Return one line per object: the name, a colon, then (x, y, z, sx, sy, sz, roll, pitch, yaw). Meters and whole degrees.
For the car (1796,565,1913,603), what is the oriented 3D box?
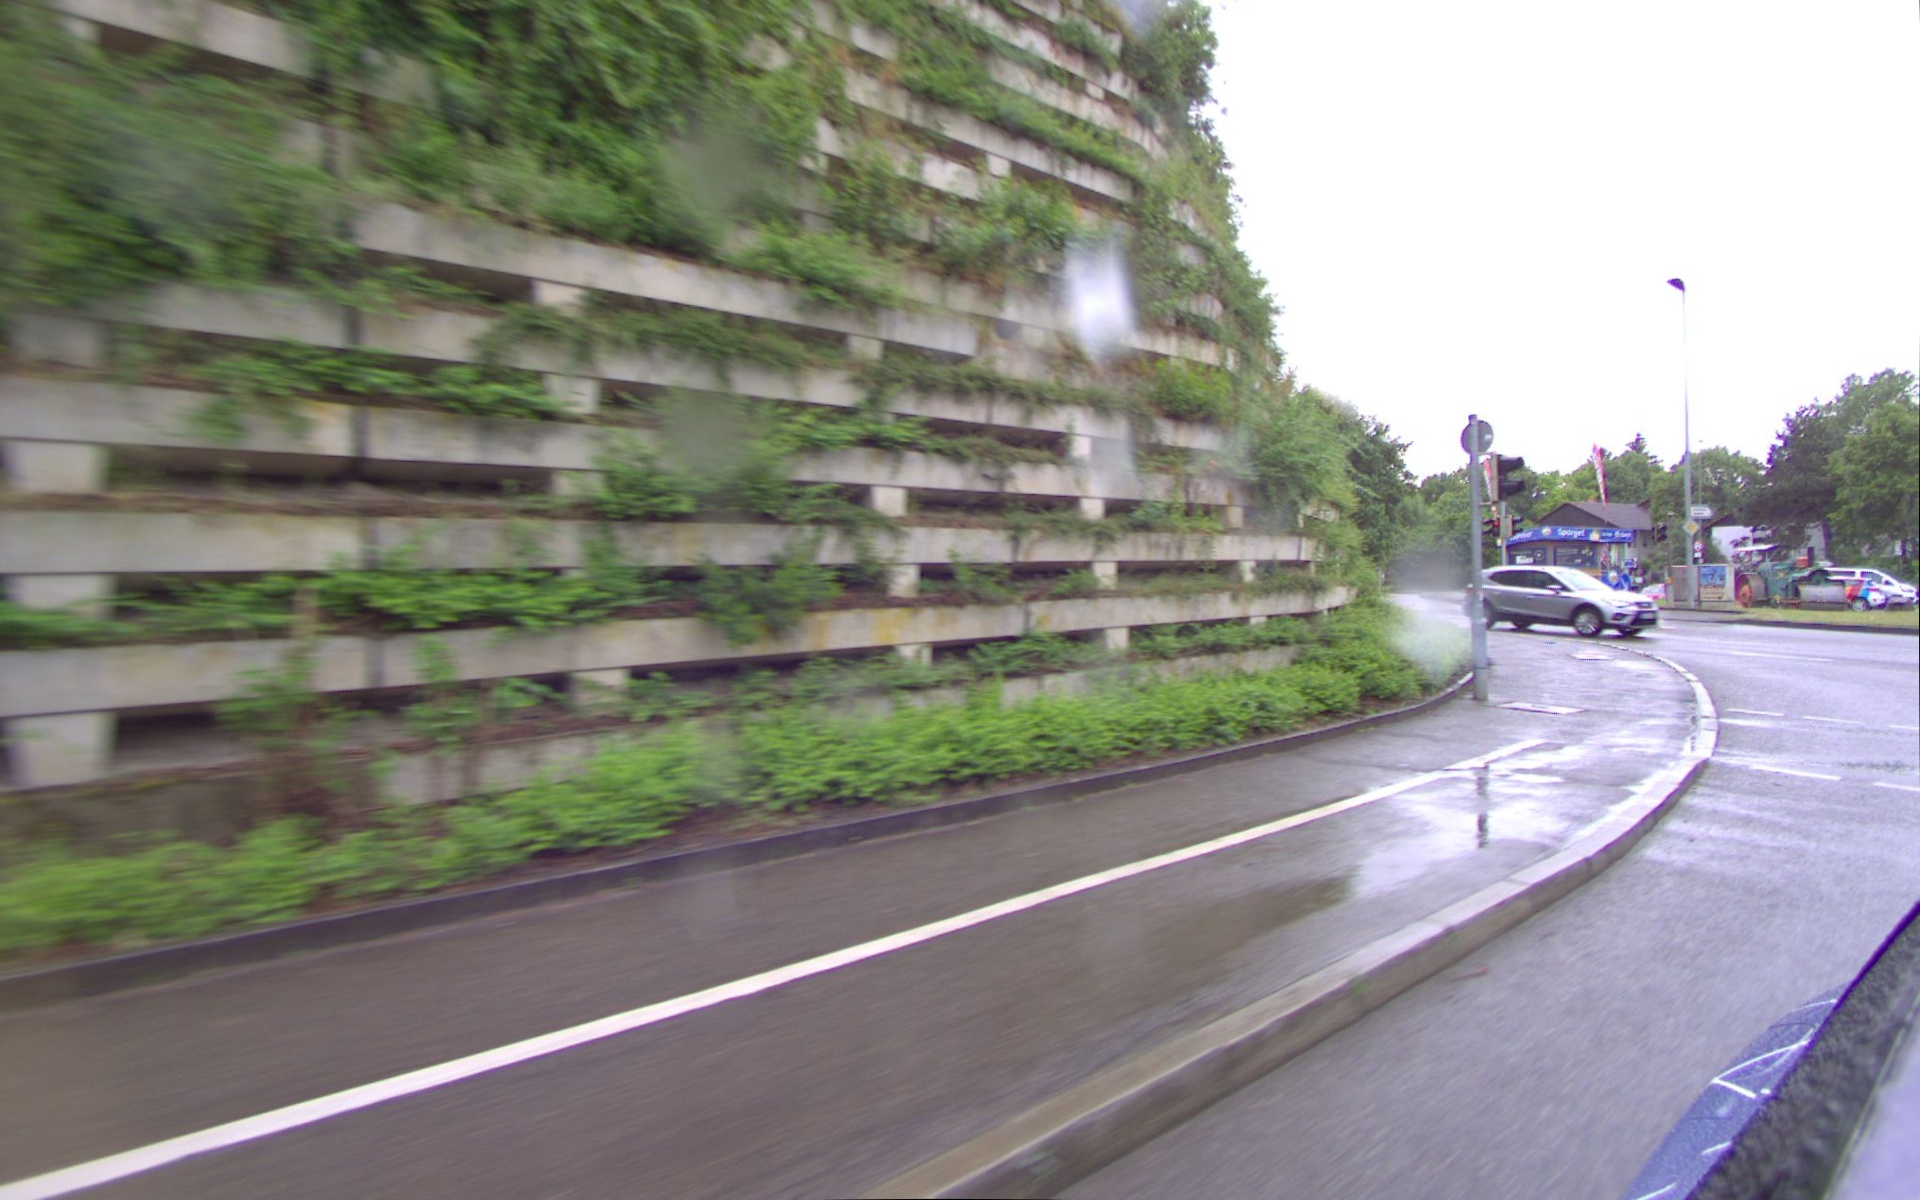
car: (40.197, -0.747, 45.559, 1.564, 1.593, 3.708, -1, 3, -39)

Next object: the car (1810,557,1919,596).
car: (45.598, -1.192, 50.615, 1.887, 1.787, 4.386, -1, 3, -39)

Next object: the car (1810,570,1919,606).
car: (42.063, -0.591, 47.068, 1.564, 1.529, 3.625, -1, 3, -39)

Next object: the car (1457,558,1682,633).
car: (13.899, -0.174, 23.348, 1.648, 1.526, 4.161, 0, 3, -27)

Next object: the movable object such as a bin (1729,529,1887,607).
movable object such as a bin: (32.290, -1.198, 38.820, 2.277, 2.719, 5.679, 2, 1, 14)

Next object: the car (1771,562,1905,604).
car: (36.637, -0.734, 42.323, 1.641, 1.593, 3.996, -1, 3, -40)
